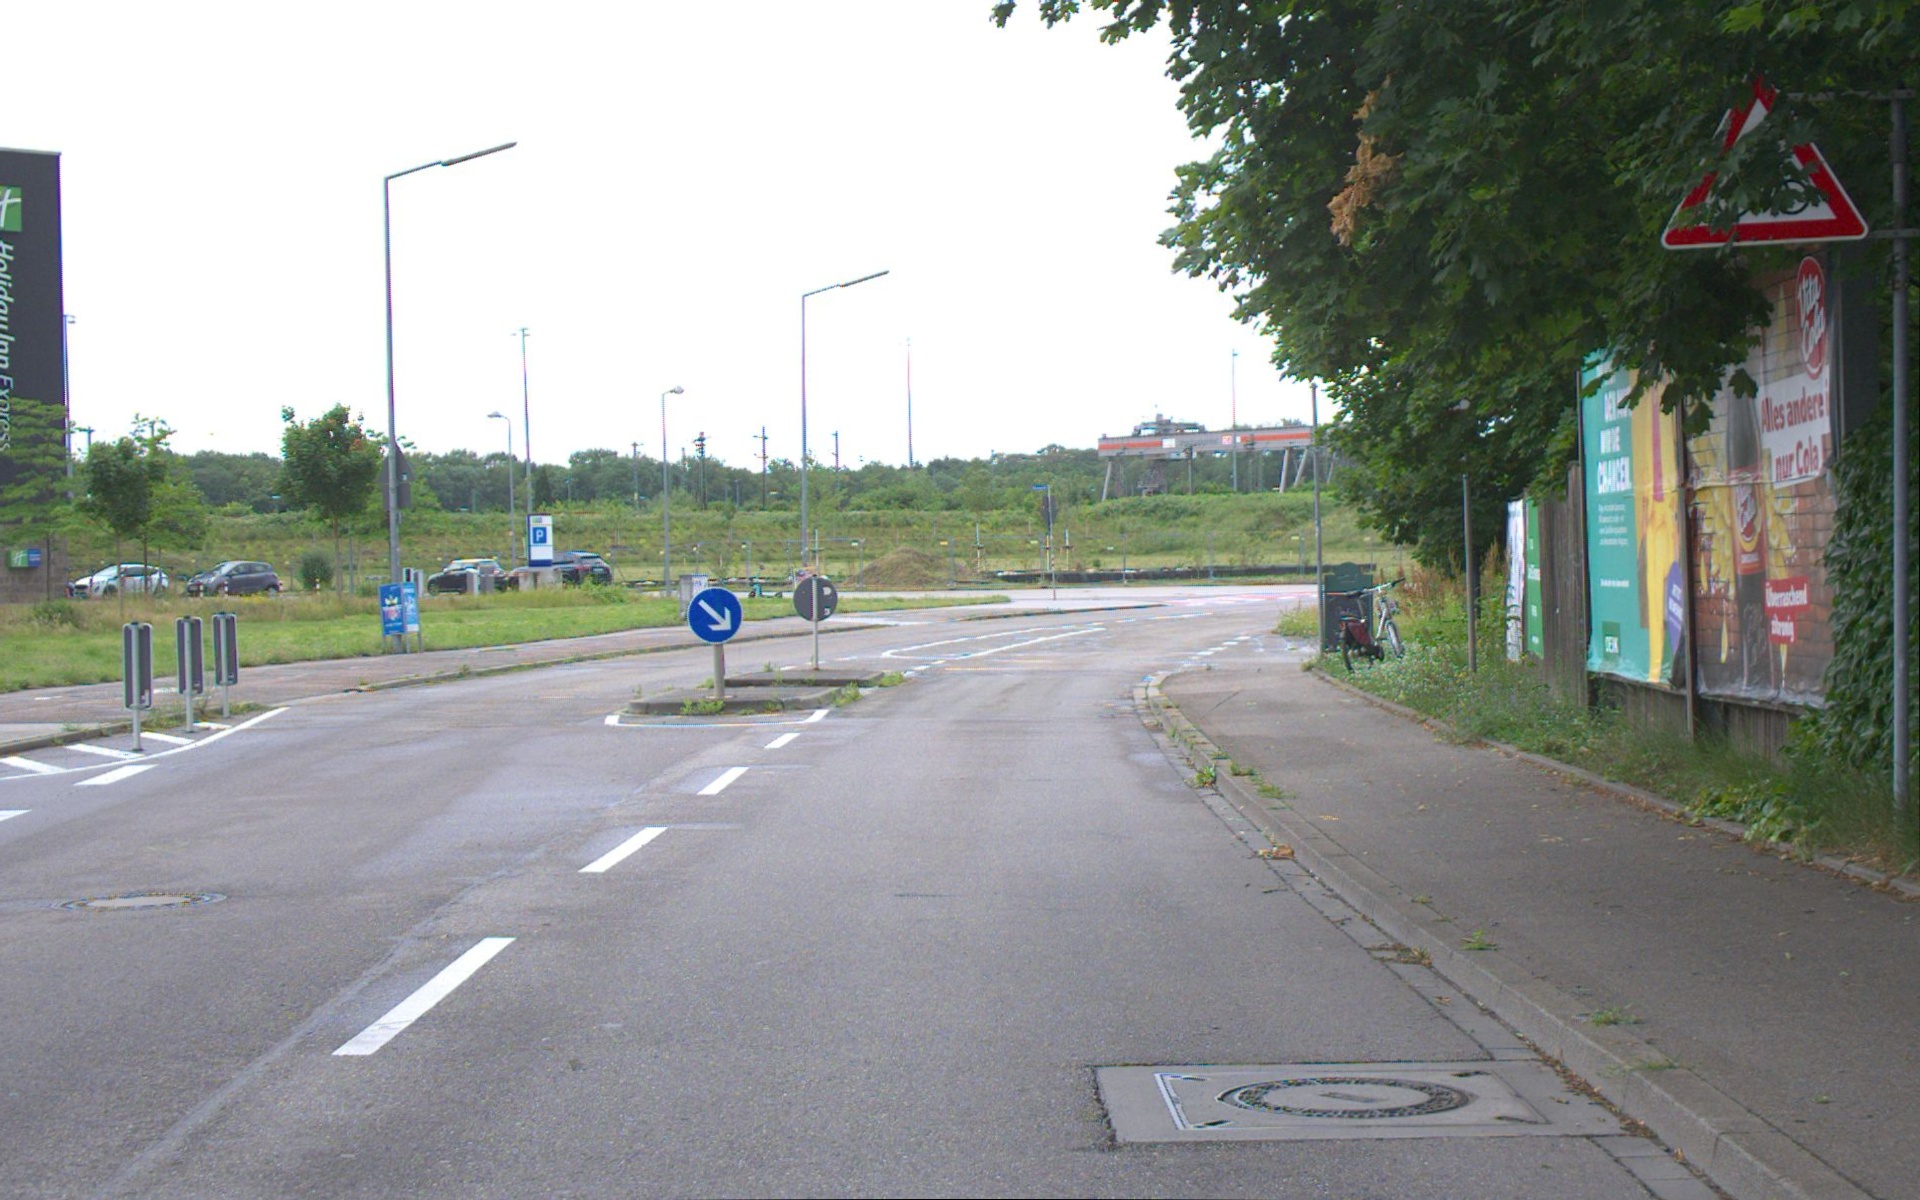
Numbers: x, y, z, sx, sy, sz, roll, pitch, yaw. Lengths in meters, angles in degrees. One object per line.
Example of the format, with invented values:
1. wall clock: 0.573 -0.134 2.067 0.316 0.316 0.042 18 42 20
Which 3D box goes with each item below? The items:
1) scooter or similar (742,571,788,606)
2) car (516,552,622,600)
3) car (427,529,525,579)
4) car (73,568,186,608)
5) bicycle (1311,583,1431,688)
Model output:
1. scooter or similar: -6.606 -0.381 116.507 1.464 1.164 0.571 0 1 16
2. car: -15.540 -0.962 136.536 3.997 1.816 1.995 0 2 42
3. car: -19.863 -1.887 140.975 1.995 2.007 3.998 -2 2 -43
4. car: -33.486 -0.487 138.637 1.997 1.512 4.146 0 2 33
5. bicycle: 4.573 0.383 38.119 0.796 1.107 1.950 -1 1 23
